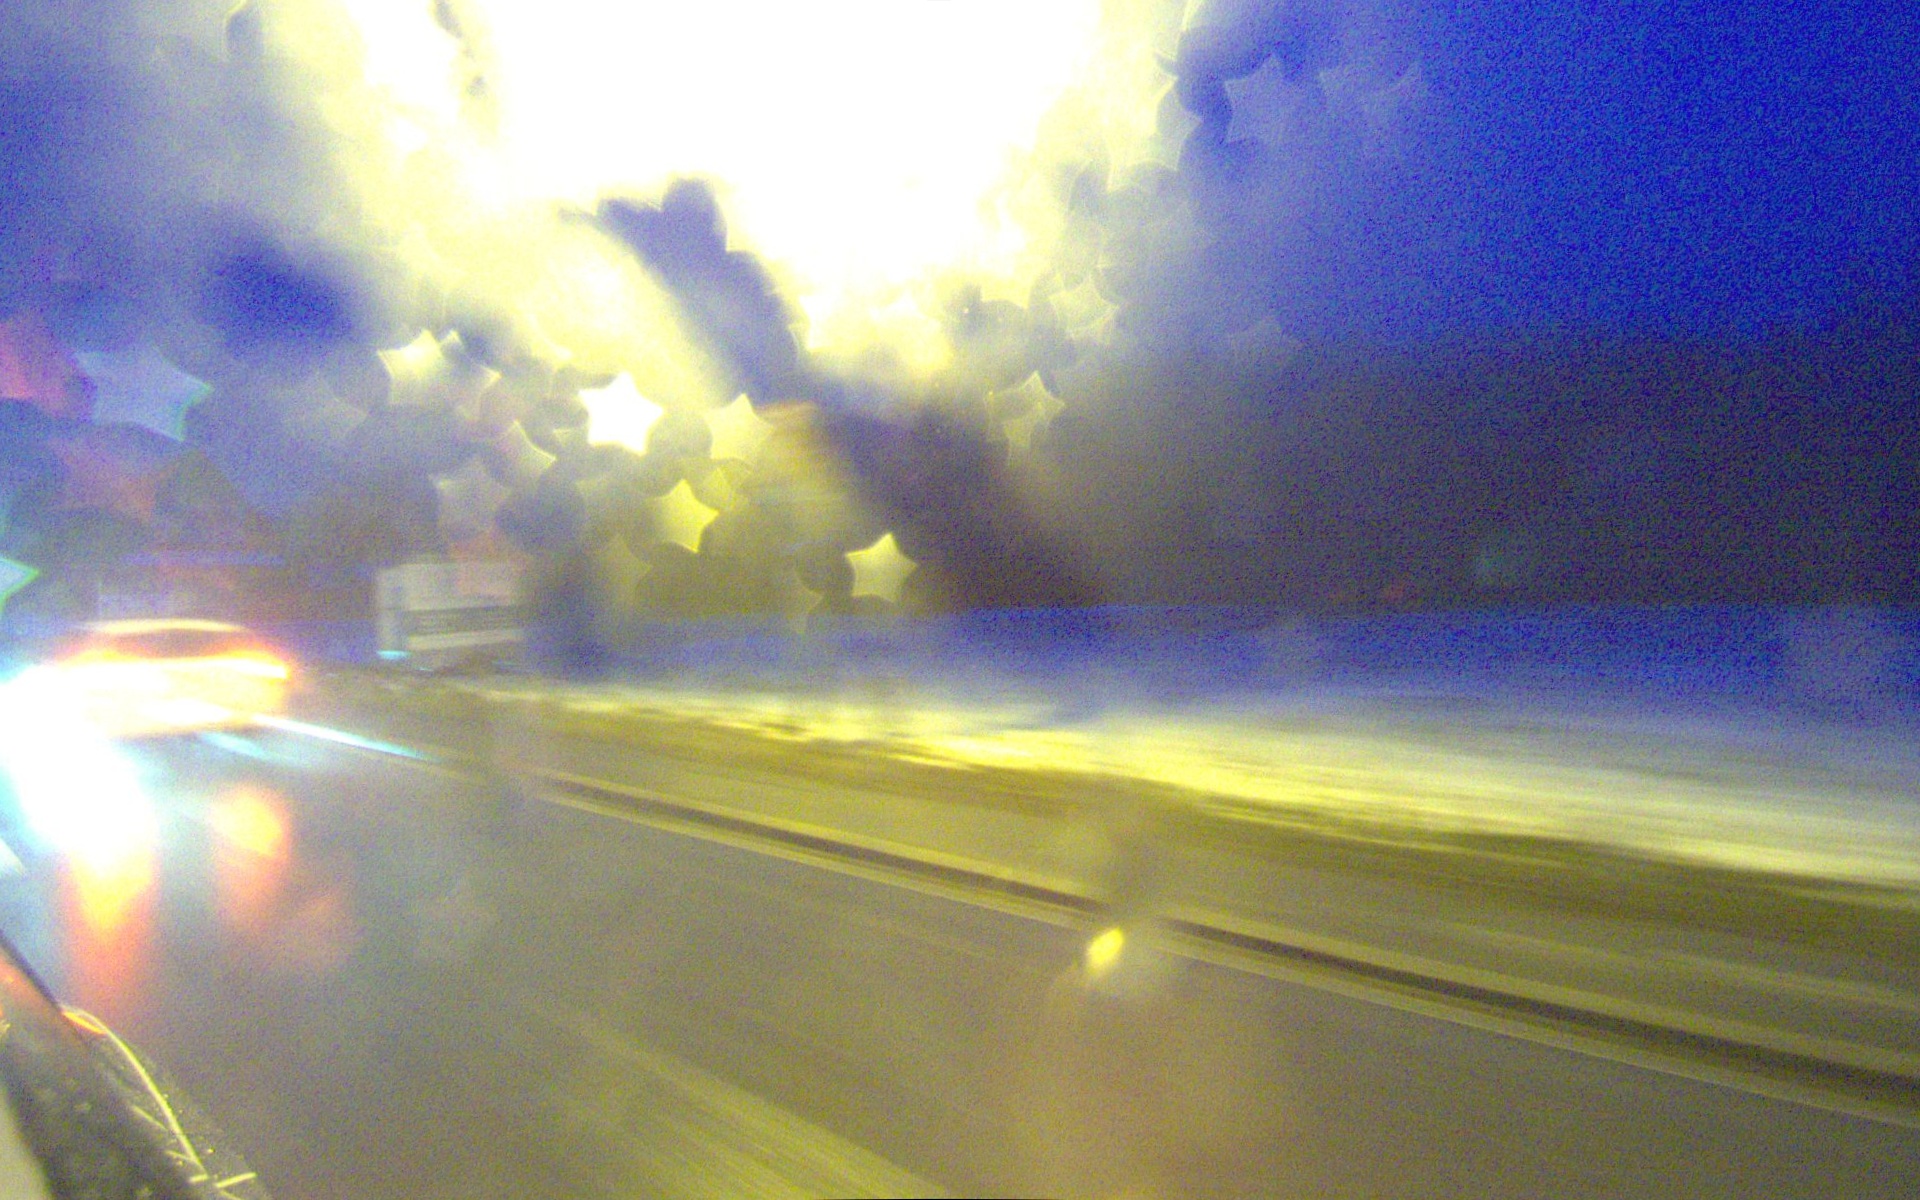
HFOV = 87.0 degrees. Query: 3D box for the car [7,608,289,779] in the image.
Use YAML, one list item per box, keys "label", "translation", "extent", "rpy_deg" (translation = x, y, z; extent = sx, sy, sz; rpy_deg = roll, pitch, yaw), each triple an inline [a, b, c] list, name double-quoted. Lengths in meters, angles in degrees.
- label: "car"
  translation: [-9.095, 0.875, 11.227]
  extent: [4.013, 1.530, 1.714]
  rpy_deg: [0, 0, 40]
